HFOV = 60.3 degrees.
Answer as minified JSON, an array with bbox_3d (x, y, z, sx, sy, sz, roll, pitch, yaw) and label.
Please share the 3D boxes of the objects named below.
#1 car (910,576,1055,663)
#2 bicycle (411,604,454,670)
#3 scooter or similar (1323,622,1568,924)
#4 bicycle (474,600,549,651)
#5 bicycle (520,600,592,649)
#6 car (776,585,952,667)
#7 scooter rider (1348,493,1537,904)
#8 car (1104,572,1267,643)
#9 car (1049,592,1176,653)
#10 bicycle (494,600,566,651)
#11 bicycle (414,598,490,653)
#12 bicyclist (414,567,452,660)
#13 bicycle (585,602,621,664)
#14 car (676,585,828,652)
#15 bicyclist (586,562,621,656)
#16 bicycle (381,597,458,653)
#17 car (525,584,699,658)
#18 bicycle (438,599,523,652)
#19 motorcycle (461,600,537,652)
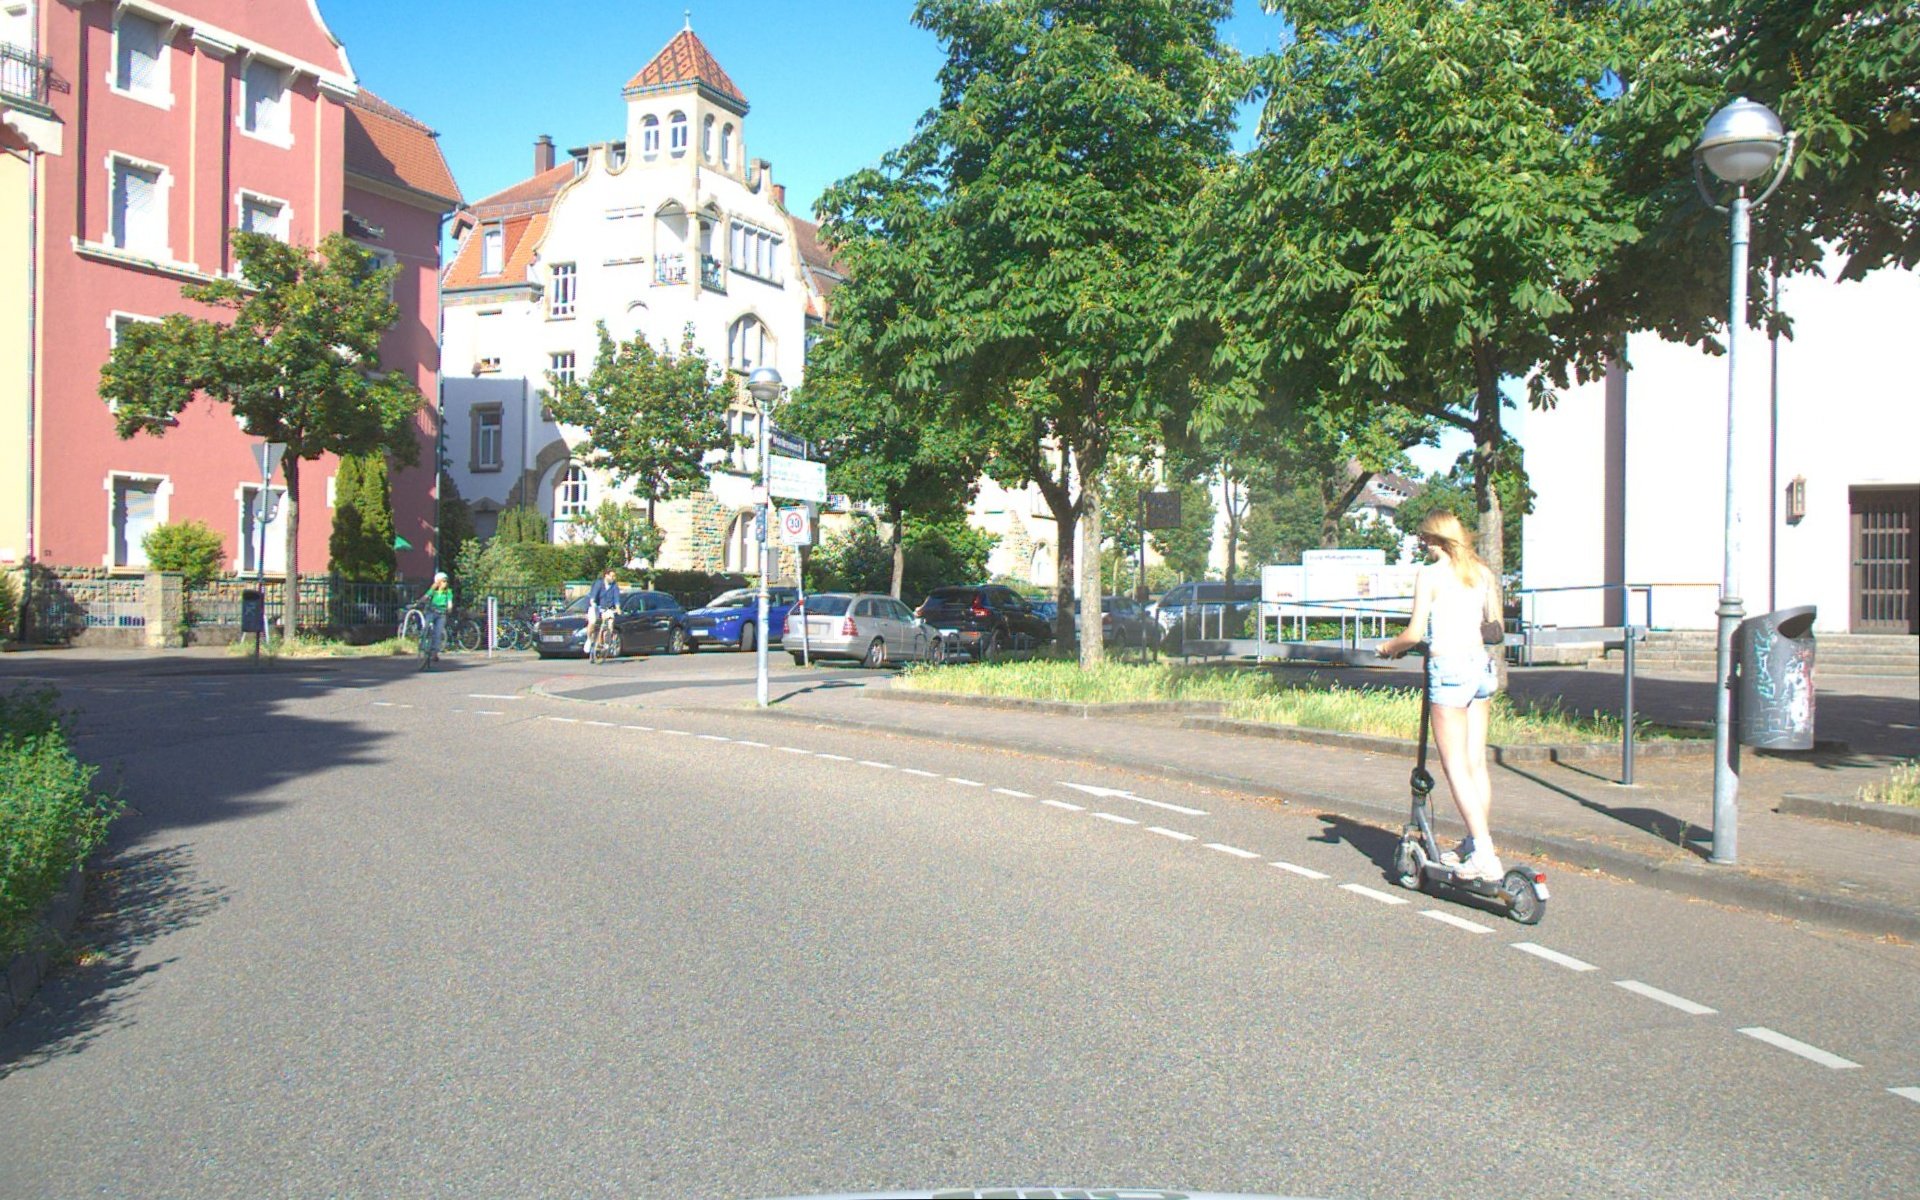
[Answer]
[{"bbox_3d":[0.573,0.402,36.421,1.767,1.758,4.339,1,0,21],"label":"car"},{"bbox_3d":[-9.299,0.641,29.190,0.584,1.127,1.857,0,0,-14],"label":"bicycle"},{"bbox_3d":[2.289,0.772,7.910,0.620,1.305,1.101,1,0,-17],"label":"scooter or similar"},{"bbox_3d":[-10.580,0.599,39.040,1.685,1.126,0.501,2,1,19],"label":"bicycle"},{"bbox_3d":[-9.871,0.588,40.402,1.686,1.126,0.516,2,1,23],"label":"bicycle"},{"bbox_3d":[-1.776,0.477,32.190,1.767,1.440,4.339,1,0,21],"label":"car"},{"bbox_3d":[2.296,0.447,7.911,0.613,1.864,0.628,1,0,-18],"label":"scooter rider"},{"bbox_3d":[6.983,0.218,51.233,4.666,2.036,1.810,1,0,22],"label":"car"},{"bbox_3d":[4.101,0.567,43.796,1.770,1.499,4.332,1,0,29],"label":"car"},{"bbox_3d":[-10.308,0.599,39.607,1.686,1.126,0.501,2,1,23],"label":"bicycle"},{"bbox_3d":[-11.389,0.563,37.087,1.688,1.134,0.545,2,1,26],"label":"bicycle"},{"bbox_3d":[-9.305,0.233,29.209,0.584,1.609,0.801,0,0,-14],"label":"bicyclist"},{"bbox_3d":[-6.701,0.614,31.074,0.632,1.127,1.712,0,-1,-11],"label":"bicycle"},{"bbox_3d":[-5.268,0.449,42.406,1.768,1.589,4.396,-2,-1,25],"label":"car"},{"bbox_3d":[-6.679,0.168,31.004,0.632,1.745,0.721,0,-1,-11],"label":"bicyclist"},{"bbox_3d":[-11.838,0.541,36.218,1.688,1.134,0.545,2,1,26],"label":"bicycle"},{"bbox_3d":[-7.741,0.458,37.259,1.766,1.509,4.339,-2,-1,20],"label":"car"},{"bbox_3d":[-10.970,0.567,37.852,1.785,1.126,0.501,2,1,10],"label":"bicycle"},{"bbox_3d":[-10.721,0.599,38.484,1.685,1.126,0.501,2,1,19],"label":"motorcycle"}]
